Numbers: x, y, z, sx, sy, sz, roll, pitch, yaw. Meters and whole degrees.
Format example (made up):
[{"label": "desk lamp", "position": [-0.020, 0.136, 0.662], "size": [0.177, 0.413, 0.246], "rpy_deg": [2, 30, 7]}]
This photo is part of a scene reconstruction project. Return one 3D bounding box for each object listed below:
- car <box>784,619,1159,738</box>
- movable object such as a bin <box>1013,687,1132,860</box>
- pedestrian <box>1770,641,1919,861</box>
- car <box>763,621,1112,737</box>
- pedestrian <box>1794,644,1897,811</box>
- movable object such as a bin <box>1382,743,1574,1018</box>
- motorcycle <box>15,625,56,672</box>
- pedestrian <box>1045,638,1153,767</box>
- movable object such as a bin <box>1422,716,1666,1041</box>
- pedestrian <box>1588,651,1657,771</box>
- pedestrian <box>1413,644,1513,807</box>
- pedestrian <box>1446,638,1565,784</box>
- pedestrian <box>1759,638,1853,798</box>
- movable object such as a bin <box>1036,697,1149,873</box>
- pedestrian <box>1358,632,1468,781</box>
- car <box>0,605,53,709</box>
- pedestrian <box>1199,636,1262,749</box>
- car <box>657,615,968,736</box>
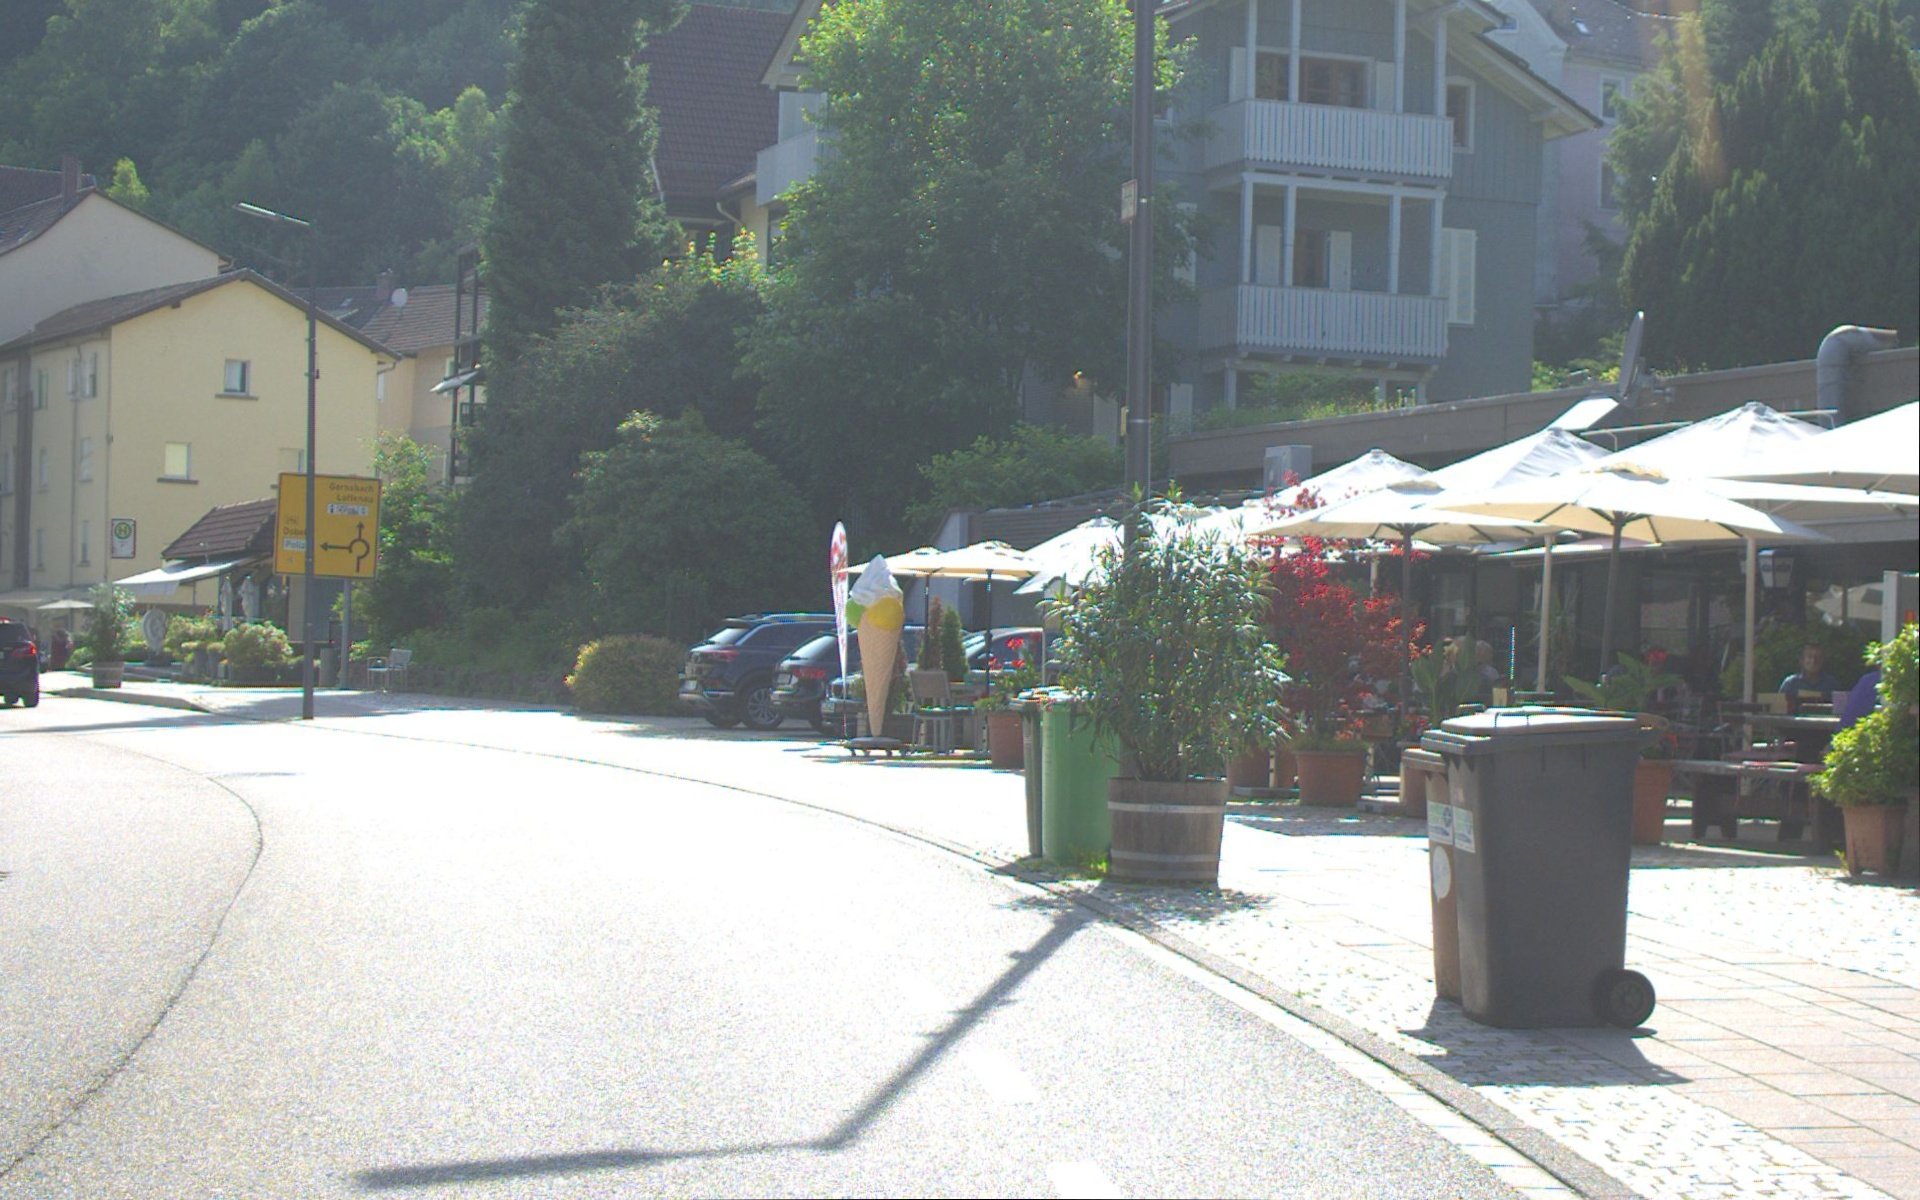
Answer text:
[{"label": "car", "position": [0.138, 0.973, 42.198], "size": [4.261, 1.374, 1.709], "rpy_deg": [1, -1, -20]}, {"label": "movable object such as a bin", "position": [0.616, 0.946, 18.936], "size": [0.547, 0.922, 0.520], "rpy_deg": [0, 0, -11]}, {"label": "pedestrian", "position": [5.442, 0.888, 20.587], "size": [0.948, 1.280, 0.645], "rpy_deg": [0, 0, -23]}, {"label": "car", "position": [-0.295, 1.014, 44.126], "size": [4.108, 1.410, 1.749], "rpy_deg": [1, -1, -20]}, {"label": "pedestrian", "position": [7.041, 1.004, 27.337], "size": [0.529, 1.300, 0.609], "rpy_deg": [0, 0, -24]}, {"label": "movable object such as a bin", "position": [1.809, 0.969, 12.048], "size": [0.525, 0.909, 0.563], "rpy_deg": [0, 0, -8]}, {"label": "motorcycle", "position": [-25.823, 1.346, 96.034], "size": [0.697, 1.292, 2.212], "rpy_deg": [-1, 0, -26]}, {"label": "pedestrian", "position": [1.377, 1.015, 34.166], "size": [0.809, 1.257, 0.700], "rpy_deg": [1, -1, -30]}, {"label": "movable object such as a bin", "position": [1.943, 0.915, 11.488], "size": [0.656, 1.029, 0.571], "rpy_deg": [0, 0, -8]}, {"label": "pedestrian", "position": [6.825, 1.137, 35.443], "size": [0.686, 1.204, 0.700], "rpy_deg": [1, -1, 11]}, {"label": "pedestrian", "position": [3.880, 0.961, 26.550], "size": [0.472, 1.241, 0.593], "rpy_deg": [0, -1, -37]}, {"label": "pedestrian", "position": [4.828, 0.973, 30.396], "size": [0.811, 1.257, 0.699], "rpy_deg": [0, -1, 34]}, {"label": "pedestrian", "position": [7.023, 0.966, 28.535], "size": [0.580, 1.300, 0.637], "rpy_deg": [0, 0, 33]}, {"label": "movable object such as a bin", "position": [0.704, 0.982, 18.365], "size": [0.513, 0.909, 0.442], "rpy_deg": [0, 0, -11]}, {"label": "pedestrian", "position": [3.882, 0.908, 29.503], "size": [0.809, 1.257, 0.700], "rpy_deg": [1, -1, -2]}, {"label": "car", "position": [-16.415, 0.888, 57.363], "size": [1.727, 1.569, 3.754], "rpy_deg": [4, 0, -26]}, {"label": "pedestrian", "position": [3.068, 1.045, 38.963], "size": [0.698, 1.257, 0.812], "rpy_deg": [1, -1, 5]}, {"label": "car", "position": [-2.024, 1.031, 47.032], "size": [3.874, 1.575, 1.749], "rpy_deg": [1, -1, -20]}]
